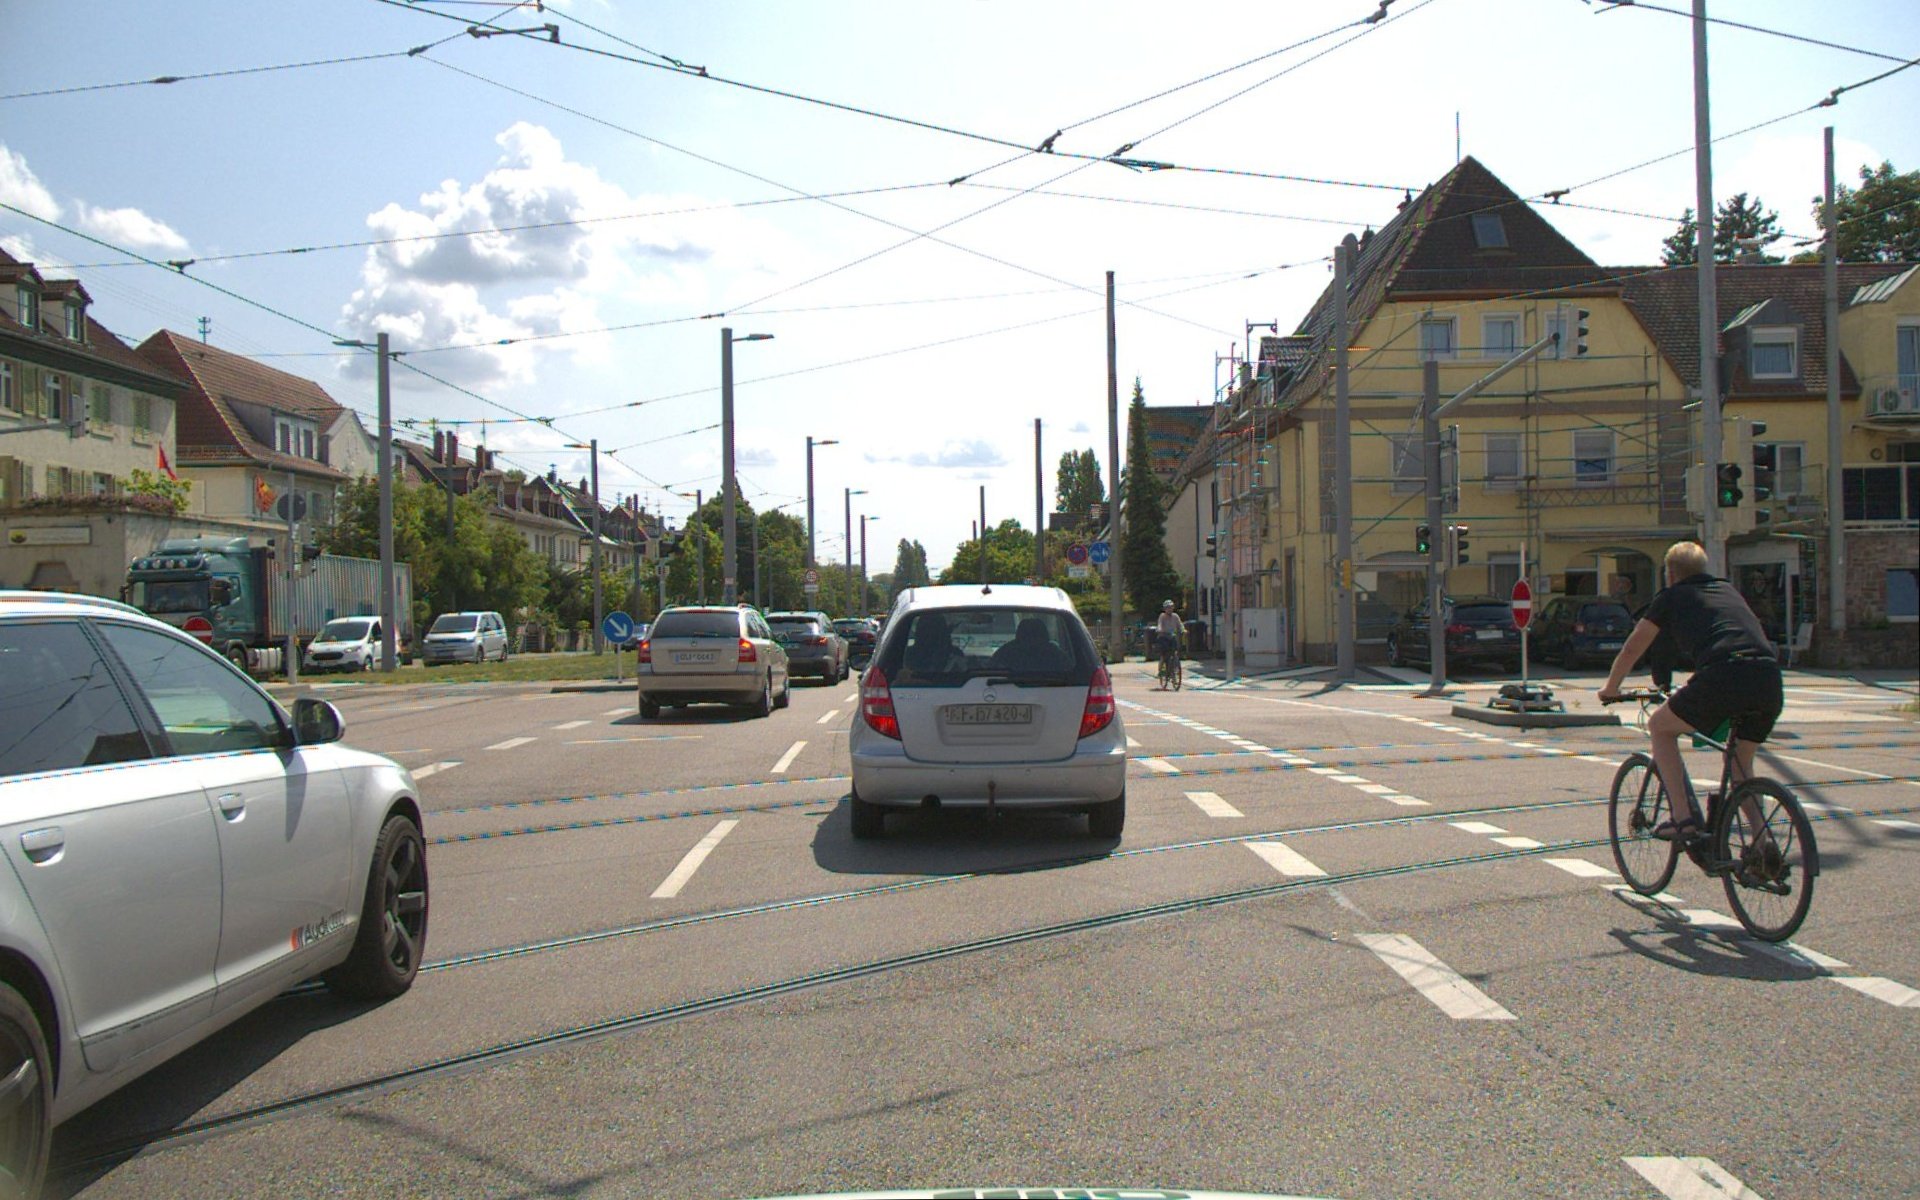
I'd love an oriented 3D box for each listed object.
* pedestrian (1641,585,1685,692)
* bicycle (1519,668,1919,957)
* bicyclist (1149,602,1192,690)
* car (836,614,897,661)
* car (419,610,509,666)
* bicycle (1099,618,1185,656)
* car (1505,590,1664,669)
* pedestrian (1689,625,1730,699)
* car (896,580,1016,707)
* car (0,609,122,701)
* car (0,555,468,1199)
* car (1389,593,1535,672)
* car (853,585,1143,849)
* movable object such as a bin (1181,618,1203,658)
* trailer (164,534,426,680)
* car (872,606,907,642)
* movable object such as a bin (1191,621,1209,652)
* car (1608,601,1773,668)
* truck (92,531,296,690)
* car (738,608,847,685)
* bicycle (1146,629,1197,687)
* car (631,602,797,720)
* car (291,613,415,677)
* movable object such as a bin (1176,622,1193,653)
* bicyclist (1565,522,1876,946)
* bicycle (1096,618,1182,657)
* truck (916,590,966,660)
[{"bbox_3d":[11.176,0.609,26.303,0.535,1.672,0.401,0,-1,4],"label":"pedestrian"},{"bbox_3d":[3.560,0.924,7.904,0.813,1.094,1.966,-2,0,-10],"label":"bicycle"},{"bbox_3d":[4.247,0.928,33.473,0.638,1.768,0.982,1,-1,-7],"label":"bicyclist"},{"bbox_3d":[-2.907,1.179,52.049,1.815,1.413,4.512,1,-1,-2],"label":"car"},{"bbox_3d":[-17.314,1.325,57.984,1.758,1.847,4.711,-2,-1,-1],"label":"car"},{"bbox_3d":[5.778,1.176,52.497,2.608,1.124,0.786,-2,-1,-2],"label":"bicycle"},{"bbox_3d":[13.716,0.664,36.586,1.953,1.624,4.130,0,-1,0],"label":"car"},{"bbox_3d":[11.871,0.976,26.204,0.478,1.156,0.389,0,-1,0],"label":"pedestrian"},{"bbox_3d":[-0.039,0.660,25.588,1.694,1.793,4.016,0,-1,0],"label":"car"},{"bbox_3d":[-17.499,1.051,30.441,1.953,1.579,4.177,-4,-1,0],"label":"car"},{"bbox_3d":[-2.859,0.656,4.458,1.758,1.497,4.720,0,0,-1],"label":"car"},{"bbox_3d":[10.953,0.720,36.381,1.953,1.624,4.130,0,-1,0],"label":"car"},{"bbox_3d":[0.132,0.690,11.734,1.695,1.543,4.014,1,0,-3],"label":"car"},{"bbox_3d":[6.615,1.087,47.180,0.501,1.124,0.855,-1,-1,0],"label":"movable object such as a bin"},{"bbox_3d":[-20.421,0.167,52.044,2.545,3.887,12.839,-3,0,2],"label":"trailer"},{"bbox_3d":[-3.771,1.290,88.176,1.815,1.875,3.916,1,-1,-2],"label":"car"},{"bbox_3d":[7.647,1.169,52.783,0.458,0.963,0.558,-1,-1,-1],"label":"movable object such as a bin"},{"bbox_3d":[16.117,0.763,36.744,1.829,1.375,4.130,0,-1,0],"label":"car"},{"bbox_3d":[-20.628,0.255,44.898,2.545,3.887,5.668,-3,0,2],"label":"truck"},{"bbox_3d":[-3.453,0.952,34.827,1.877,1.503,4.561,1,-1,-1],"label":"car"},{"bbox_3d":[4.256,1.167,33.358,0.638,1.137,1.585,1,-1,-7],"label":"bicycle"},{"bbox_3d":[-3.311,0.778,22.945,1.696,1.474,4.122,0,0,0],"label":"car"},{"bbox_3d":[-17.249,1.270,47.237,1.757,1.665,4.471,-2,-1,1],"label":"car"},{"bbox_3d":[7.161,1.199,52.781,0.458,0.963,0.558,-1,-1,-1],"label":"movable object such as a bin"},{"bbox_3d":[3.561,0.586,7.839,0.813,1.825,1.081,-2,0,-10],"label":"bicyclist"},{"bbox_3d":[5.752,1.198,53.232,2.671,1.139,0.691,-2,-1,-2],"label":"bicycle"},{"bbox_3d":[-0.789,1.008,64.885,1.815,2.597,5.851,1,-1,-2],"label":"truck"}]
